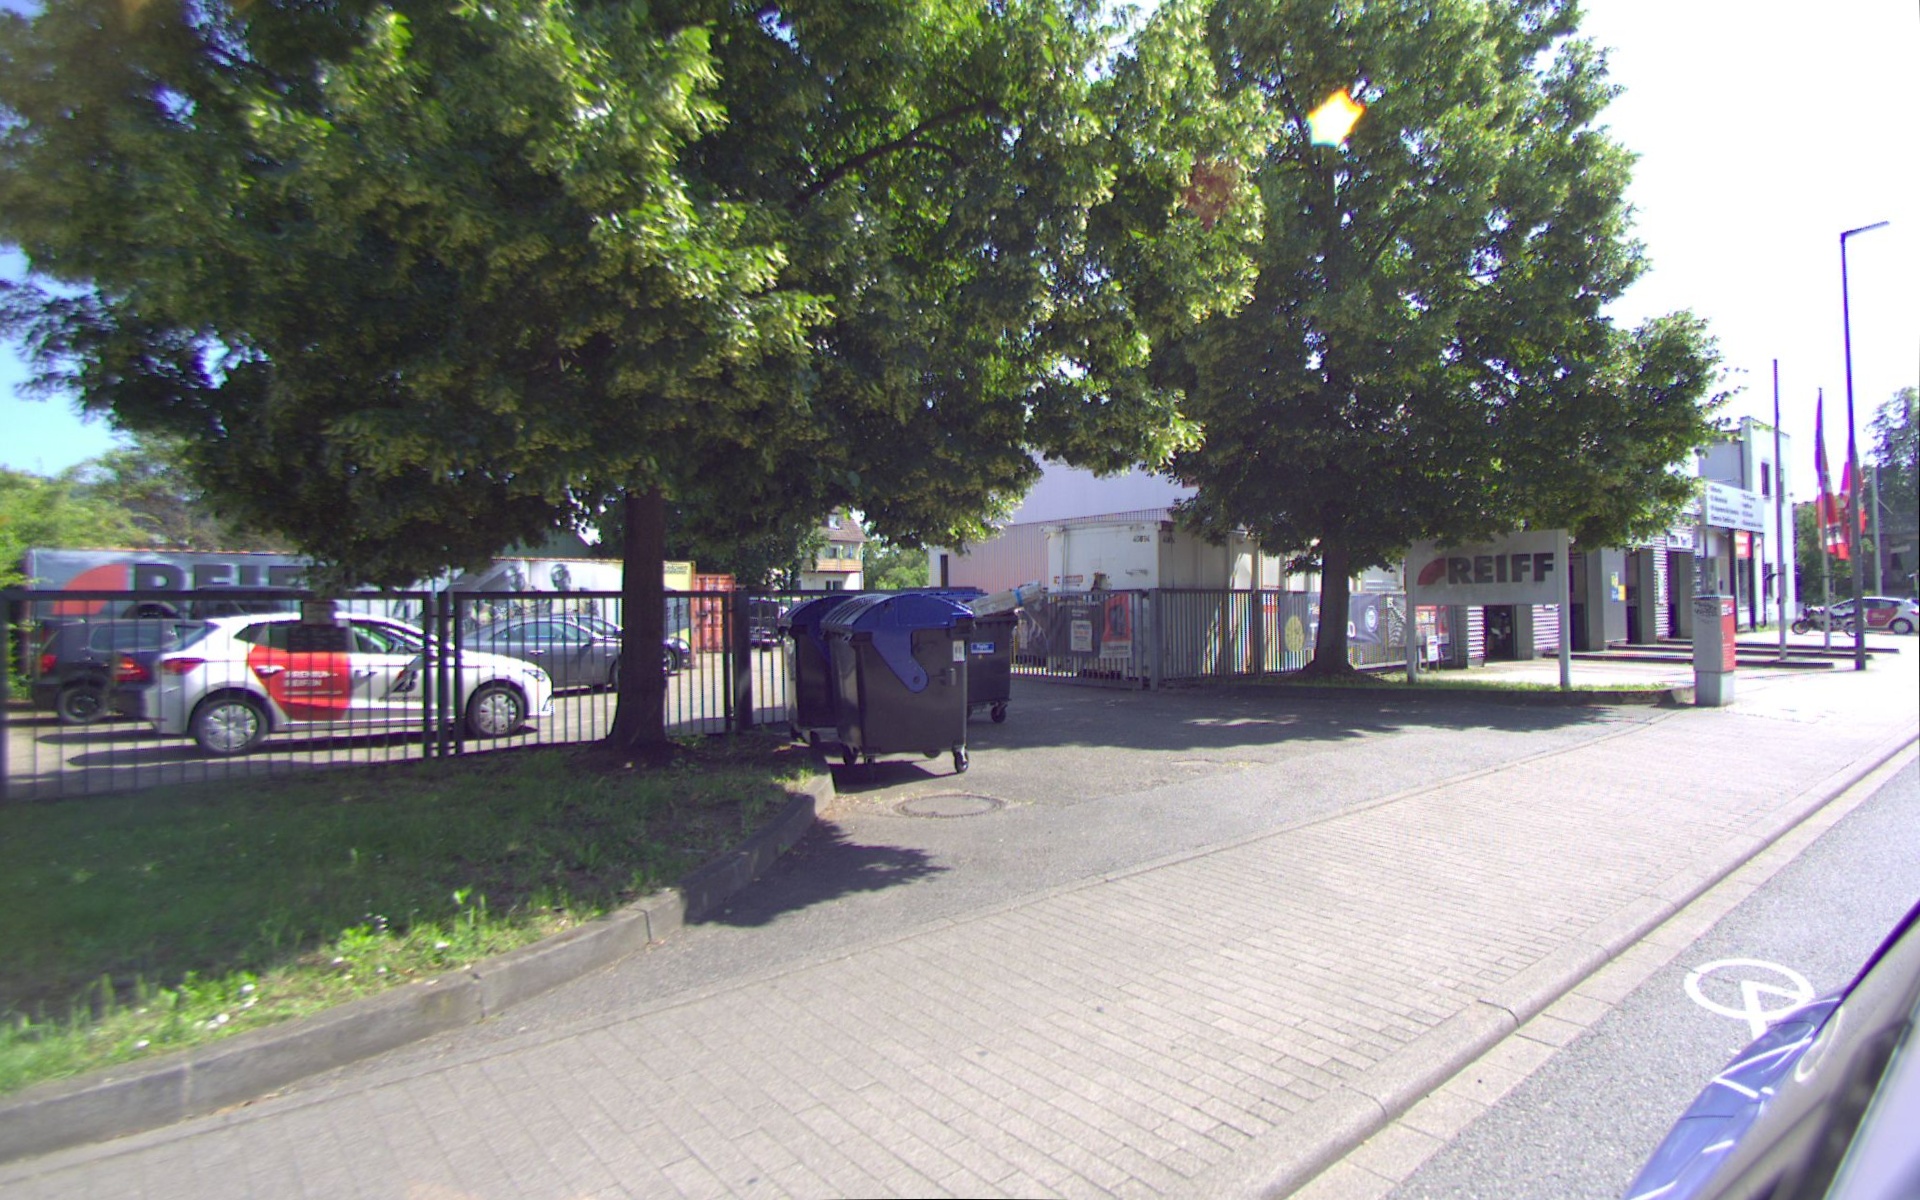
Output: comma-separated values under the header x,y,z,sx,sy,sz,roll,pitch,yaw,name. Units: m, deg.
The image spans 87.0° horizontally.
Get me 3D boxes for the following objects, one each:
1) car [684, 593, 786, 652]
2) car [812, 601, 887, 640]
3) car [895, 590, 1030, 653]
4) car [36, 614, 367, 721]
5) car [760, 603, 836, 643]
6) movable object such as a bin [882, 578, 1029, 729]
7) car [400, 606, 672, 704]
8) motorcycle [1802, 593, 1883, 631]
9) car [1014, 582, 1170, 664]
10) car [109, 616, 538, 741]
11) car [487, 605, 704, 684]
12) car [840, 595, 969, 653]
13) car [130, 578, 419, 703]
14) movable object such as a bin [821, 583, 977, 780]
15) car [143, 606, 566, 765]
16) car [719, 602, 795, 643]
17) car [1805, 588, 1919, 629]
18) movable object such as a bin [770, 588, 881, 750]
x,y,z,sx,sy,sz,roll,pitch,yaw,name
-8.438,0.815,37.714,1.913,2.039,4.384,1,-1,-39,car
-5.530,1.077,50.374,1.805,1.811,3.992,2,-4,-41,car
0.119,0.691,31.234,3.929,1.811,1.834,1,-4,-40,car
-11.100,0.920,15.015,3.733,1.372,1.719,2,-1,-40,car
-7.898,1.138,49.097,1.805,1.811,3.992,2,-4,-41,car
-0.047,0.564,11.481,1.299,1.566,0.978,-2,0,-44,movable object such as a bin
-7.479,0.878,18.047,4.159,1.478,1.746,-1,0,-40,car
32.944,0.432,37.813,0.718,1.324,2.187,-1,3,-41,motorcycle
3.455,0.604,26.158,3.929,1.953,1.834,1,-3,-40,car
-8.447,0.929,13.714,4.684,1.396,1.891,1,-1,-40,car
-7.637,0.867,21.403,3.977,1.409,1.719,-1,1,-40,car
-1.794,0.820,33.326,3.929,1.811,1.834,1,-4,-40,car
-11.877,0.688,17.670,3.976,1.948,1.719,2,-2,-40,car
-0.549,0.617,8.418,0.970,1.448,1.391,-2,0,-15,movable object such as a bin
-6.780,0.834,11.539,3.929,1.478,1.746,0,-1,-40,car
-9.597,1.096,47.616,1.805,1.811,3.992,2,-4,-41,car
37.216,0.314,41.246,1.857,1.480,3.994,-1,3,-42,car
-1.362,0.633,10.029,0.866,1.448,1.323,-2,0,-15,movable object such as a bin
